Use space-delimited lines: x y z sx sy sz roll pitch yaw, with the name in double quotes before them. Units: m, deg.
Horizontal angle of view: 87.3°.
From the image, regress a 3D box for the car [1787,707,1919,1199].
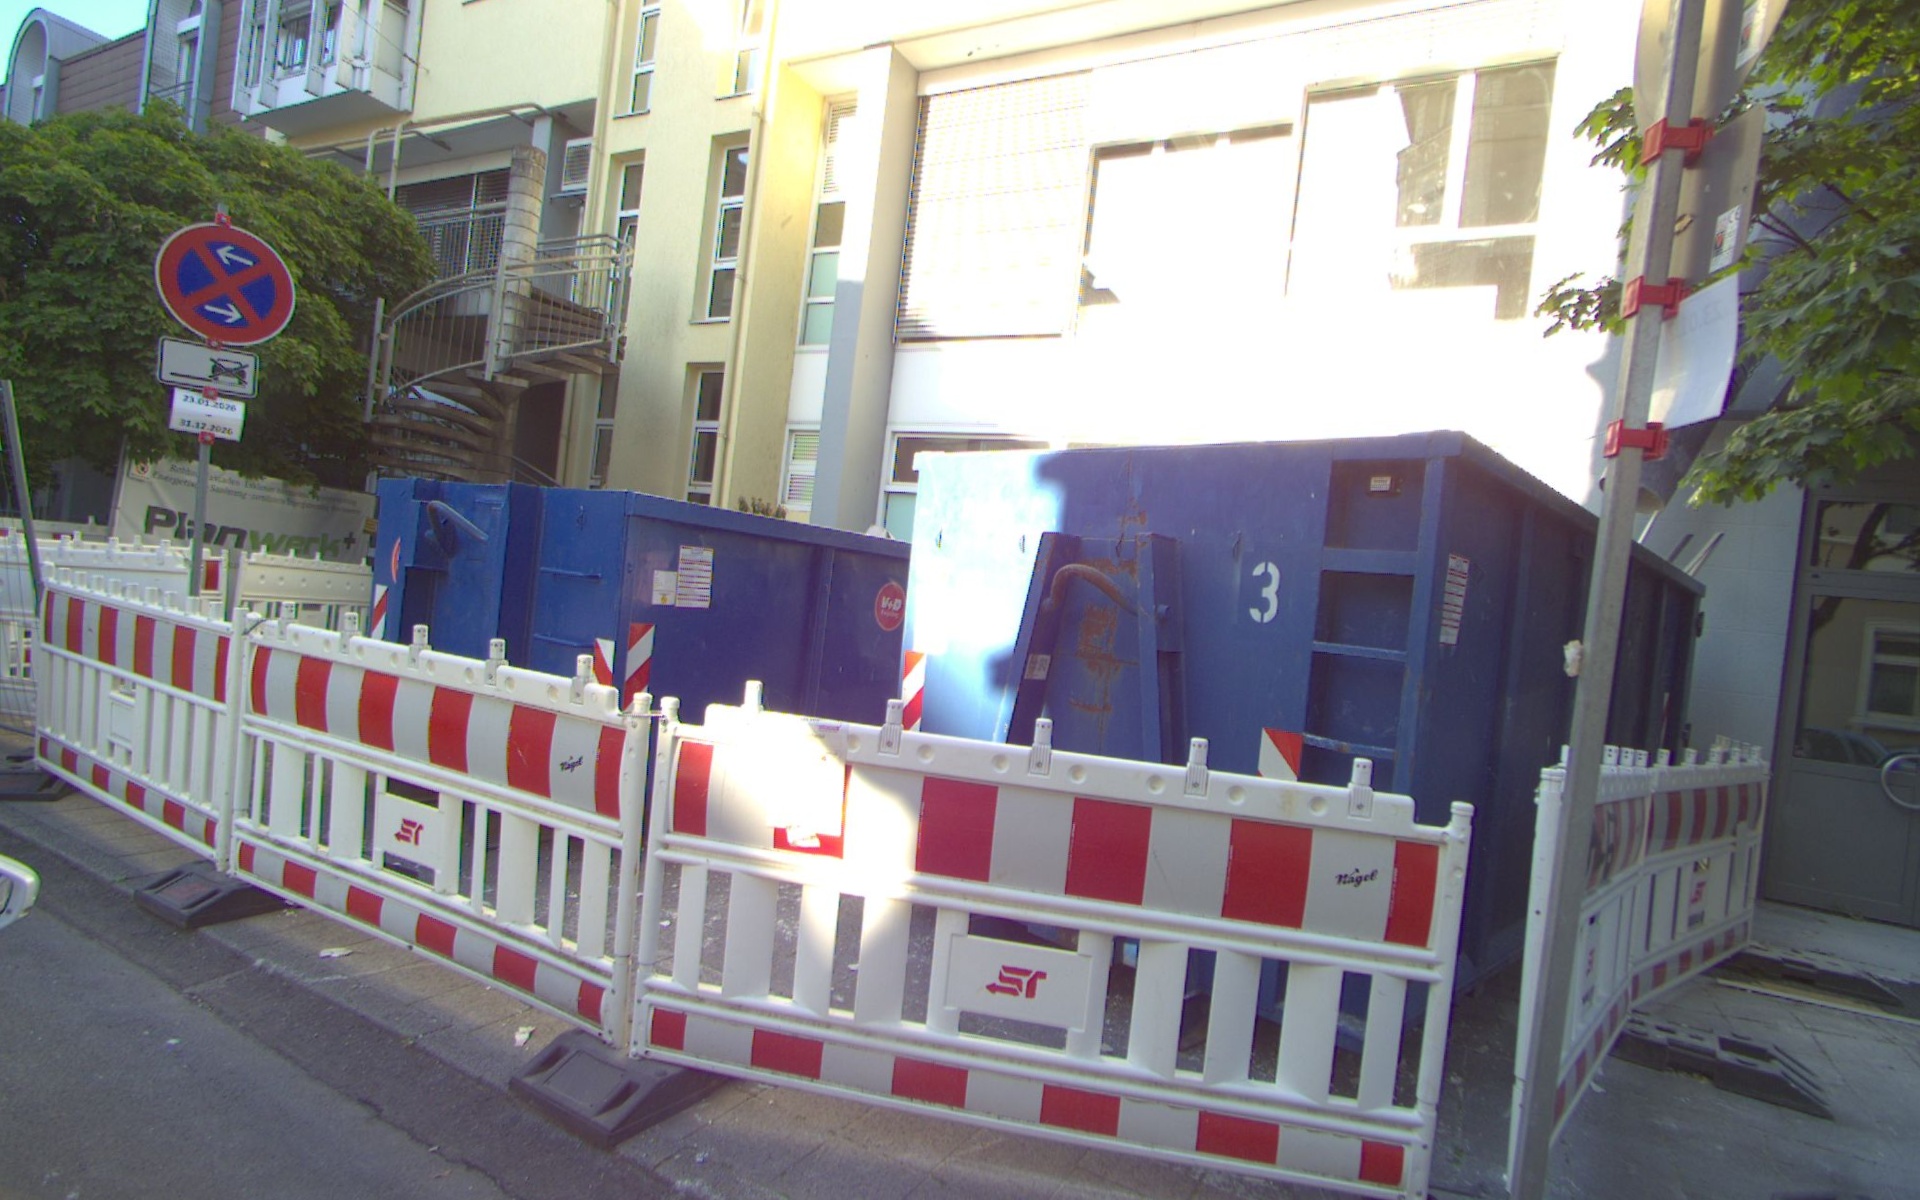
"car" 2.979 1.113 0.530 3.668 1.495 1.677 7 1 32
